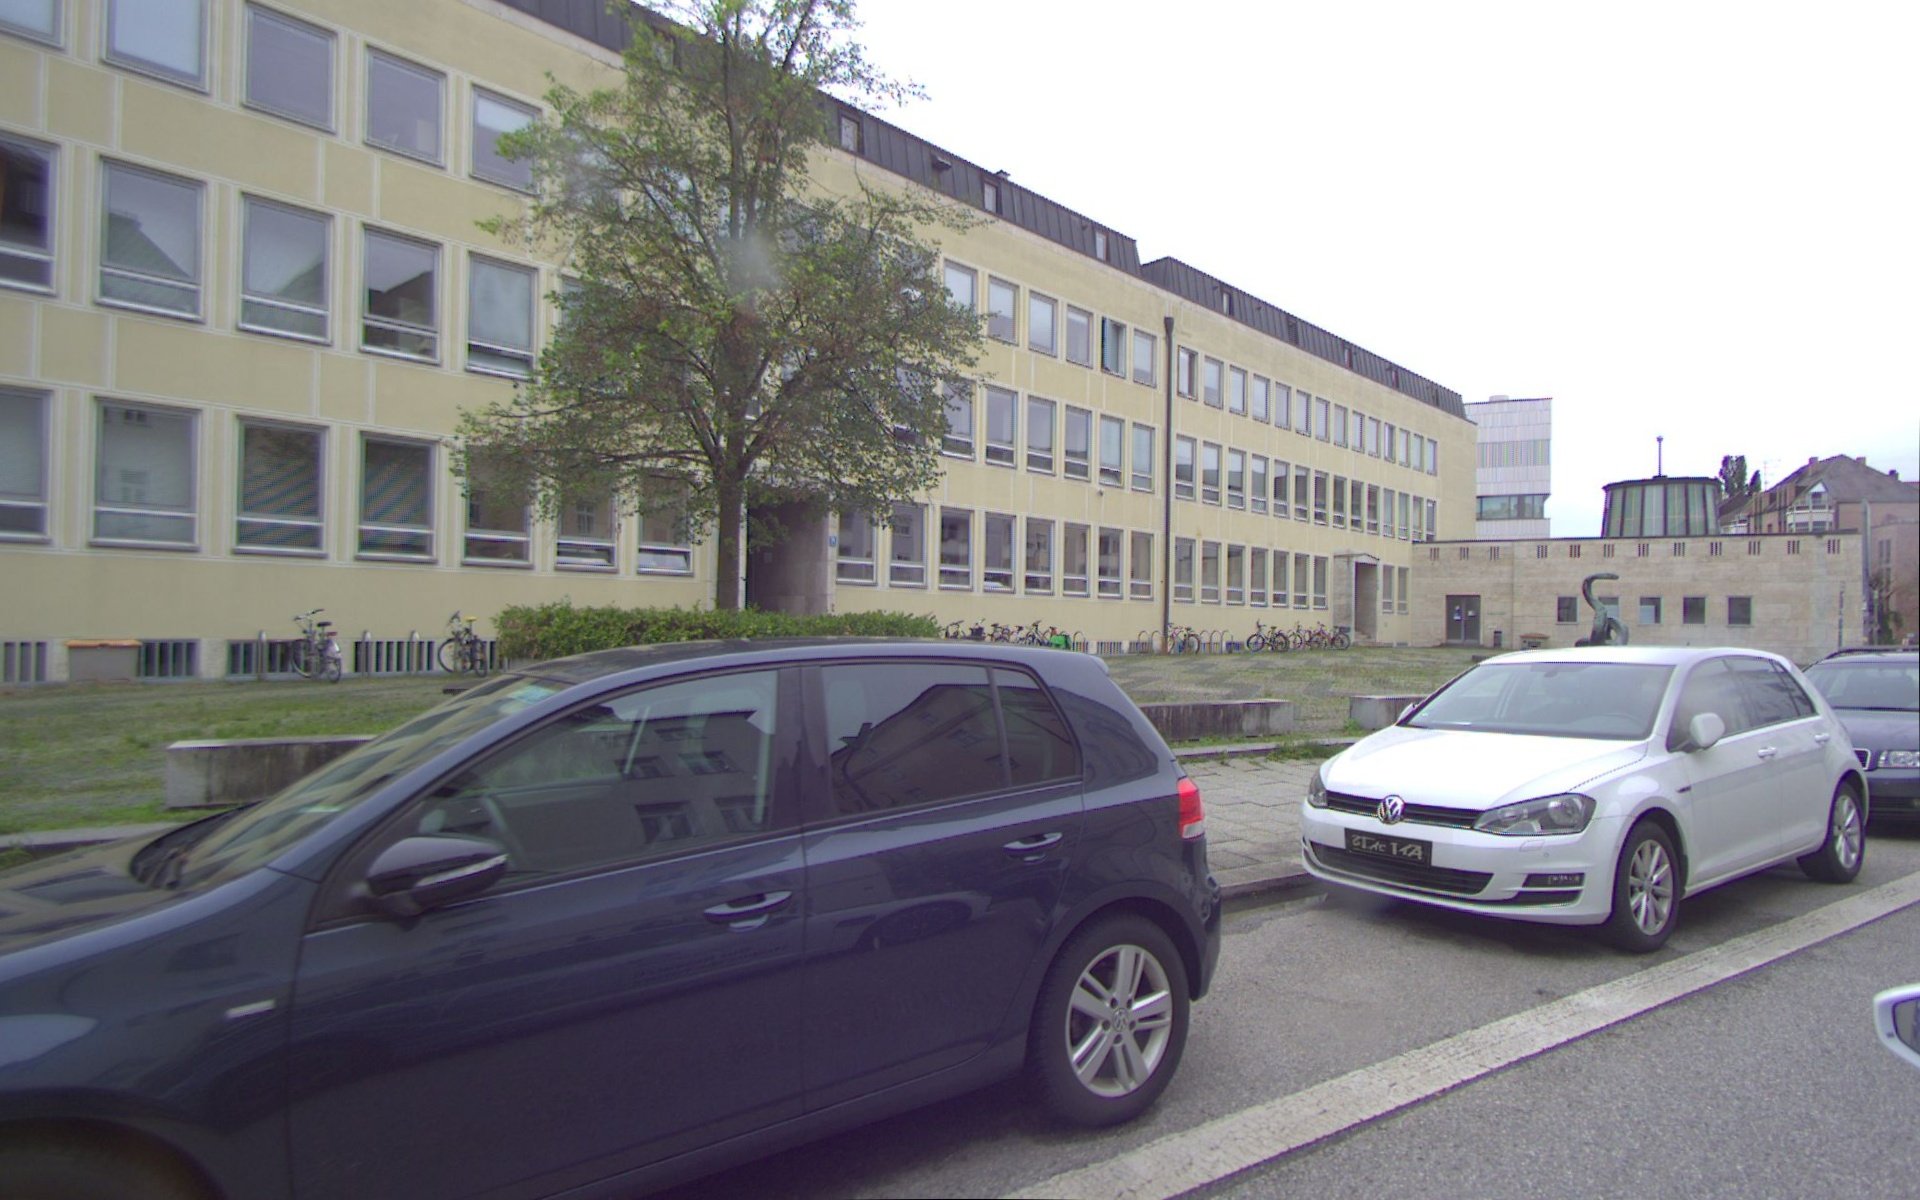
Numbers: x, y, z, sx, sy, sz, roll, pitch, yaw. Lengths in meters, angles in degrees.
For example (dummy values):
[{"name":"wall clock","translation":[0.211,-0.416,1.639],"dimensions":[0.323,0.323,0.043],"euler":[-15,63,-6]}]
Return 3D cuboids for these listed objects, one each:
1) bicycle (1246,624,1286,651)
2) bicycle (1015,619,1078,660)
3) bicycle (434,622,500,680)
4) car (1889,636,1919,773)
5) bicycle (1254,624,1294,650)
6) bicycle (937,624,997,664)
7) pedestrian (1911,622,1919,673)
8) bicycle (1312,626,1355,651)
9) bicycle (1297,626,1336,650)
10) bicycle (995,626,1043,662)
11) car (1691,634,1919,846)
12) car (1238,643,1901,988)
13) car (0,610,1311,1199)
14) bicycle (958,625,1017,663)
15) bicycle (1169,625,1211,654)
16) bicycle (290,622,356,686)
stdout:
[{"name":"bicycle","translation":[12.002,1.466,39.400],"dimensions":[1.455,0.957,0.412],"euler":[2,1,44]},{"name":"bicycle","translation":[2.552,1.152,29.806],"dimensions":[1.825,1.110,0.698],"euler":[2,0,44]},{"name":"bicycle","translation":[-8.988,0.915,18.298],"dimensions":[1.586,0.957,0.500],"euler":[2,0,42]},{"name":"car","translation":[12.401,1.159,11.574],"dimensions":[3.565,1.514,1.622],"euler":[1,-3,-33]},{"name":"bicycle","translation":[12.523,1.476,40.051],"dimensions":[1.455,0.957,0.412],"euler":[2,1,44]},{"name":"bicycle","translation":[0.167,1.179,27.174],"dimensions":[0.411,0.957,1.933],"euler":[1,0,-42]},{"name":"pedestrian","translation":[36.071,1.769,37.394],"dimensions":[0.830,1.891,0.712],"euler":[1,0,32]},{"name":"bicycle","translation":[15.979,1.636,43.042],"dimensions":[1.688,0.957,0.412],"euler":[2,1,44]},{"name":"bicycle","translation":[14.930,1.589,42.095],"dimensions":[1.455,0.957,0.412],"euler":[2,1,44]},{"name":"bicycle","translation":[1.677,1.247,28.587],"dimensions":[1.391,0.957,0.412],"euler":[2,1,43]},{"name":"car","translation":[8.322,1.072,8.830],"dimensions":[4.229,1.514,1.622],"euler":[1,-3,-33]},{"name":"car","translation":[3.846,1.004,6.140],"dimensions":[4.247,1.441,1.732],"euler":[1,-4,-32]},{"name":"car","translation":[-0.942,0.819,3.011],"dimensions":[4.056,1.514,1.621],"euler":[1,0,-33]},{"name":"bicycle","translation":[0.747,1.193,27.697],"dimensions":[1.839,0.957,0.412],"euler":[2,1,45]},{"name":"bicycle","translation":[8.093,1.391,35.374],"dimensions":[1.392,0.957,0.412],"euler":[2,1,44]},{"name":"bicycle","translation":[-10.647,0.882,16.772],"dimensions":[1.586,0.957,0.500],"euler":[2,0,42]}]
